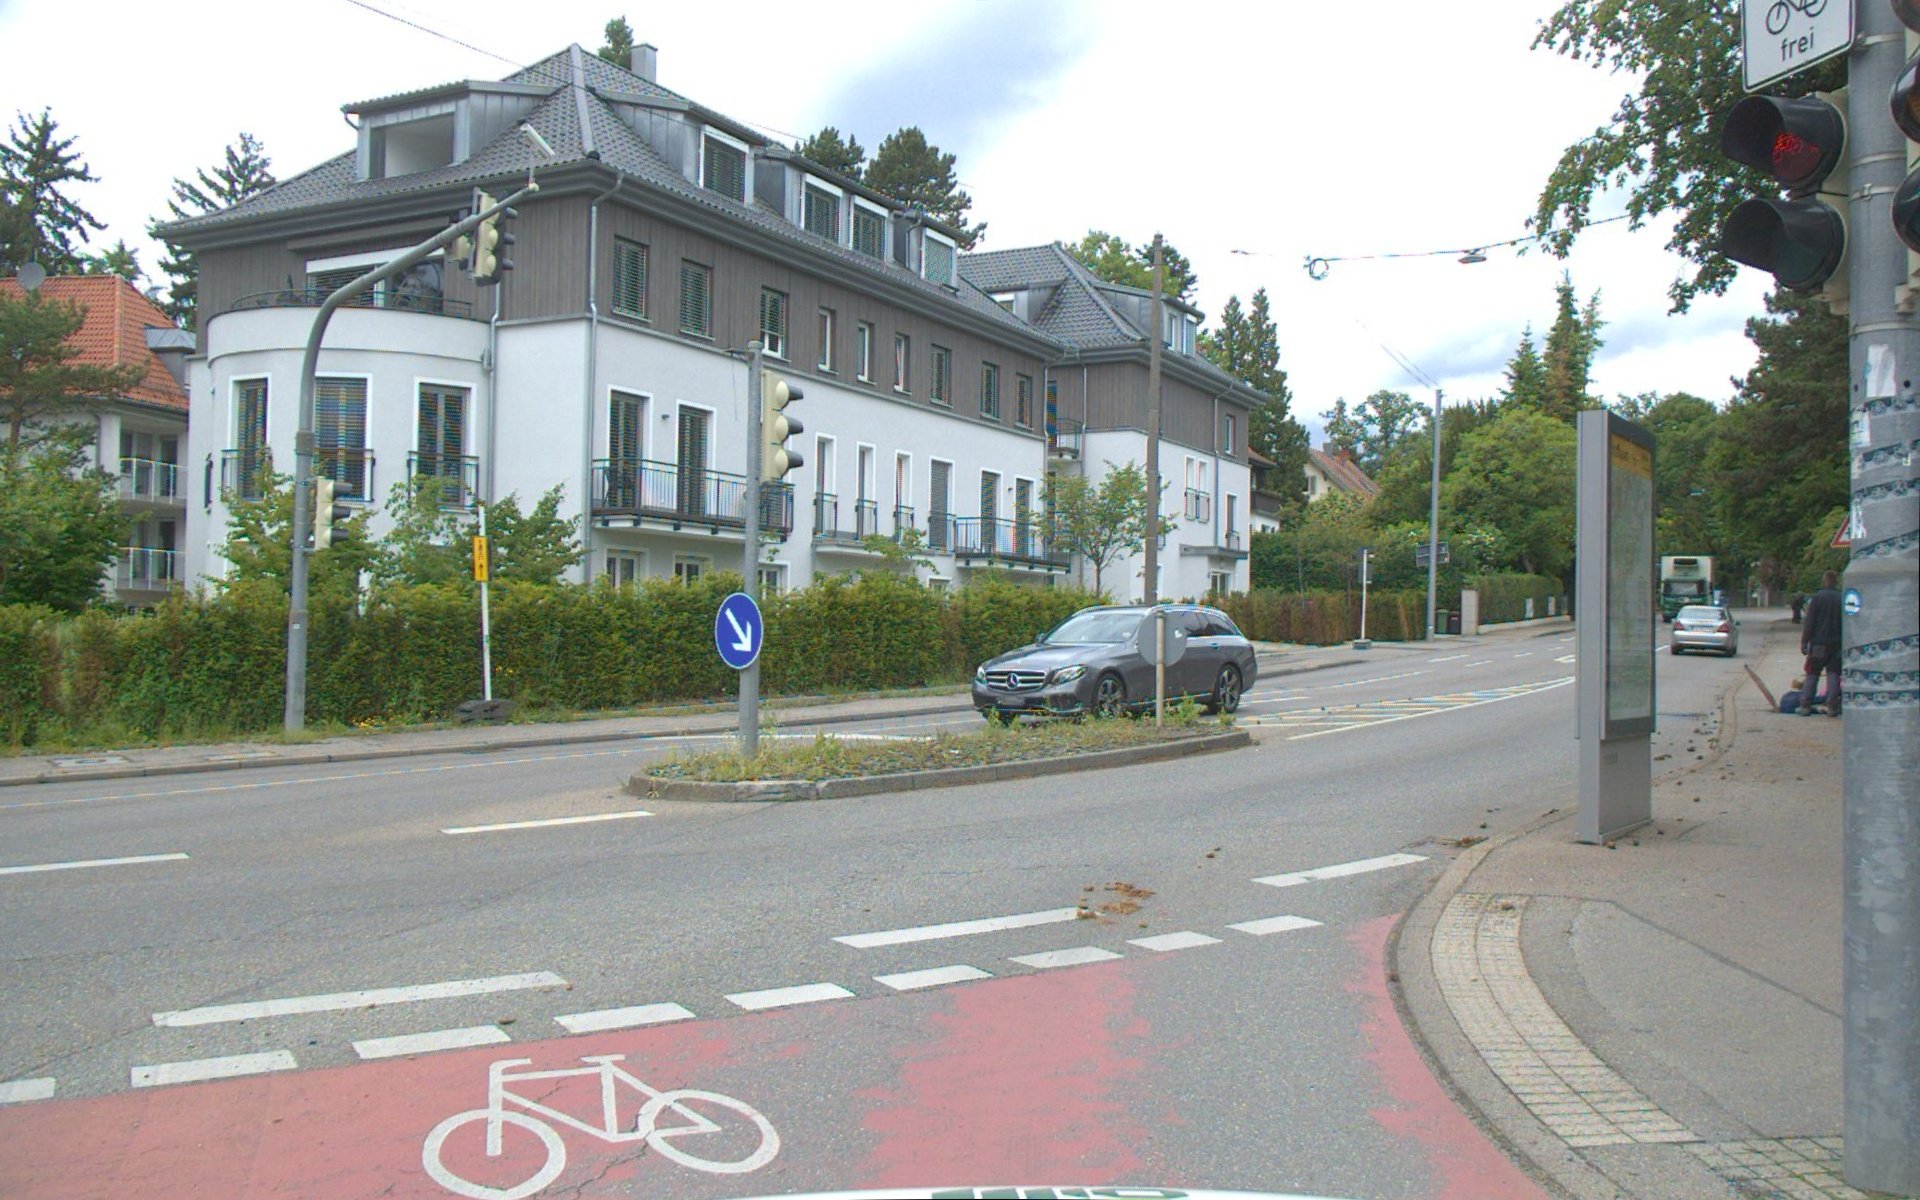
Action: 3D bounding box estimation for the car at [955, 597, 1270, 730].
[{"bbox_3d":[2.128,0.758,21.795,1.797,1.511,4.724,-1,0,39],"label":"car"}]

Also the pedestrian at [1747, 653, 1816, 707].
[{"bbox_3d":[11.449,1.105,23.059,0.634,0.709,0.583,0,0,-14],"label":"pedestrian"}]

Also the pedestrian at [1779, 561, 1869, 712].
[{"bbox_3d":[11.436,0.469,21.918,0.828,1.957,0.802,0,0,8],"label":"pedestrian"}]

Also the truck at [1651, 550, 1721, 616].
[{"bbox_3d":[40.595,-0.867,92.680,2.719,3.522,7.497,0,-1,17],"label":"truck"}]

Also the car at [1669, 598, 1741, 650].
[{"bbox_3d":[21.980,0.704,48.708,1.762,1.440,4.331,0,-1,26],"label":"car"}]
